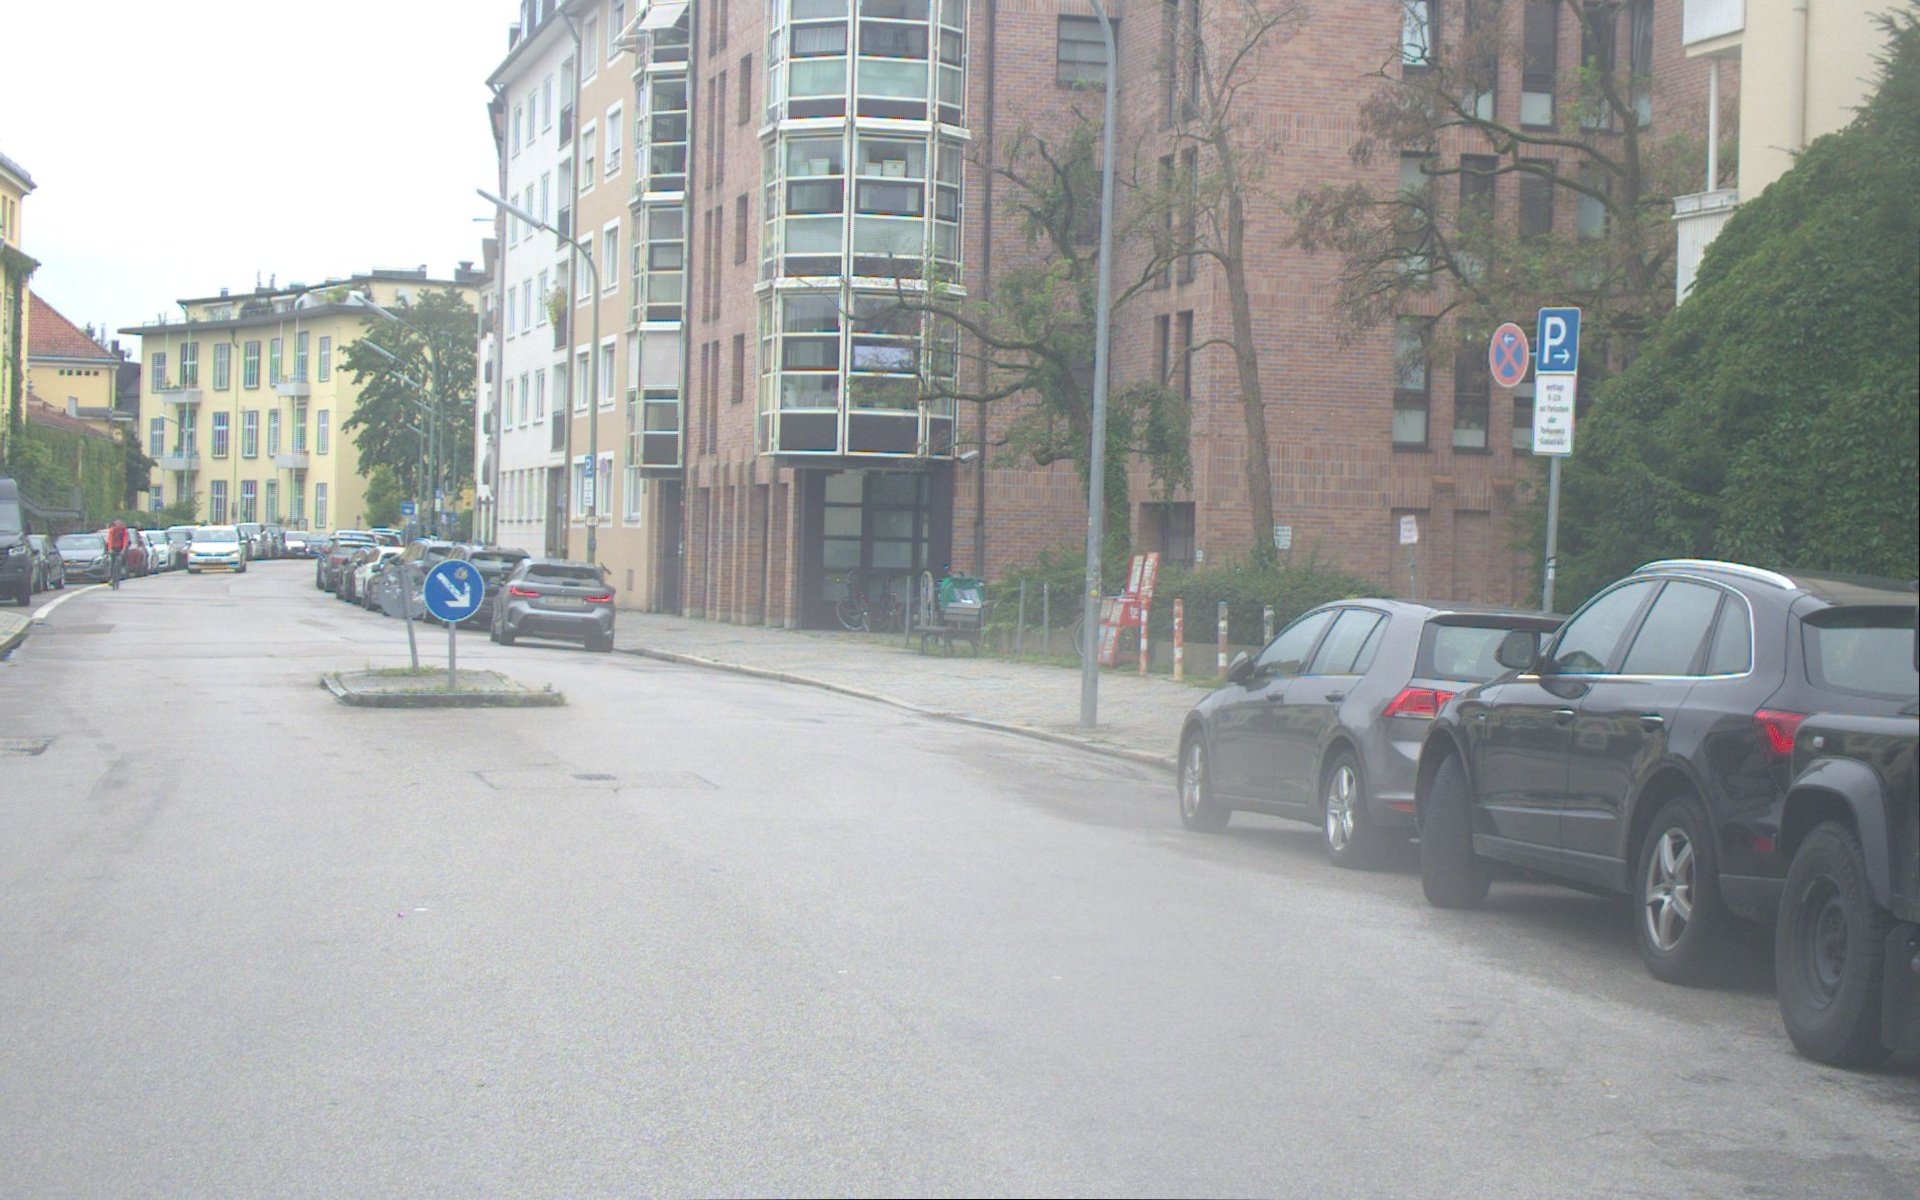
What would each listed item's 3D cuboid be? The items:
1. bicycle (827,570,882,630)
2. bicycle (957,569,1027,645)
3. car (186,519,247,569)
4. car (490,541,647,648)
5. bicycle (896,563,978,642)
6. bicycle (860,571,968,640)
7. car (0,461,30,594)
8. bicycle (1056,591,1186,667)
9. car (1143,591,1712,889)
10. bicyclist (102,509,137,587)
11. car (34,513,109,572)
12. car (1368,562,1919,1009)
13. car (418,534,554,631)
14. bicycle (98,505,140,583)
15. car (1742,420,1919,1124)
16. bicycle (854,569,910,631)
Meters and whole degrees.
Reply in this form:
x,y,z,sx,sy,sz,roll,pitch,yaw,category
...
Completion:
x,y,z,sx,sy,sz,roll,pitch,yaw,category
-1.958,-0.002,63.678,0.486,1.056,1.996,3,0,-16,bicycle
0.512,0.116,54.945,0.421,1.169,1.359,4,2,31,bicycle
-25.646,-1.925,118.527,2.025,1.616,4.506,0,0,-12,car
-6.356,-0.119,55.419,1.924,1.507,4.393,3,1,-13,car
-0.388,0.026,56.578,0.534,1.244,2.414,3,-1,-19,bicycle
-0.835,0.099,62.309,1.848,1.143,0.488,3,1,-7,bicycle
-21.034,-1.519,73.065,2.421,2.706,5.955,0,0,-15,car
2.275,0.403,48.595,1.700,0.962,0.546,3,1,-13,bicycle
2.478,0.710,19.296,1.754,1.391,4.046,3,0,-13,car
-22.015,-1.376,90.075,0.766,2.006,0.768,-2,2,-8,bicyclist
-25.656,-1.675,99.344,1.772,1.545,3.779,3,1,-11,car
3.225,0.677,14.790,1.658,1.560,4.516,3,0,-9,car
-9.121,-0.364,65.891,1.829,1.596,4.268,3,2,-17,car
-21.990,-1.480,89.891,0.748,2.006,2.848,0,2,-8,bicycle
3.840,0.580,9.429,1.747,2.074,4.517,3,1,-7,car
-1.454,-0.011,63.828,0.486,1.056,1.996,3,1,-16,bicycle
